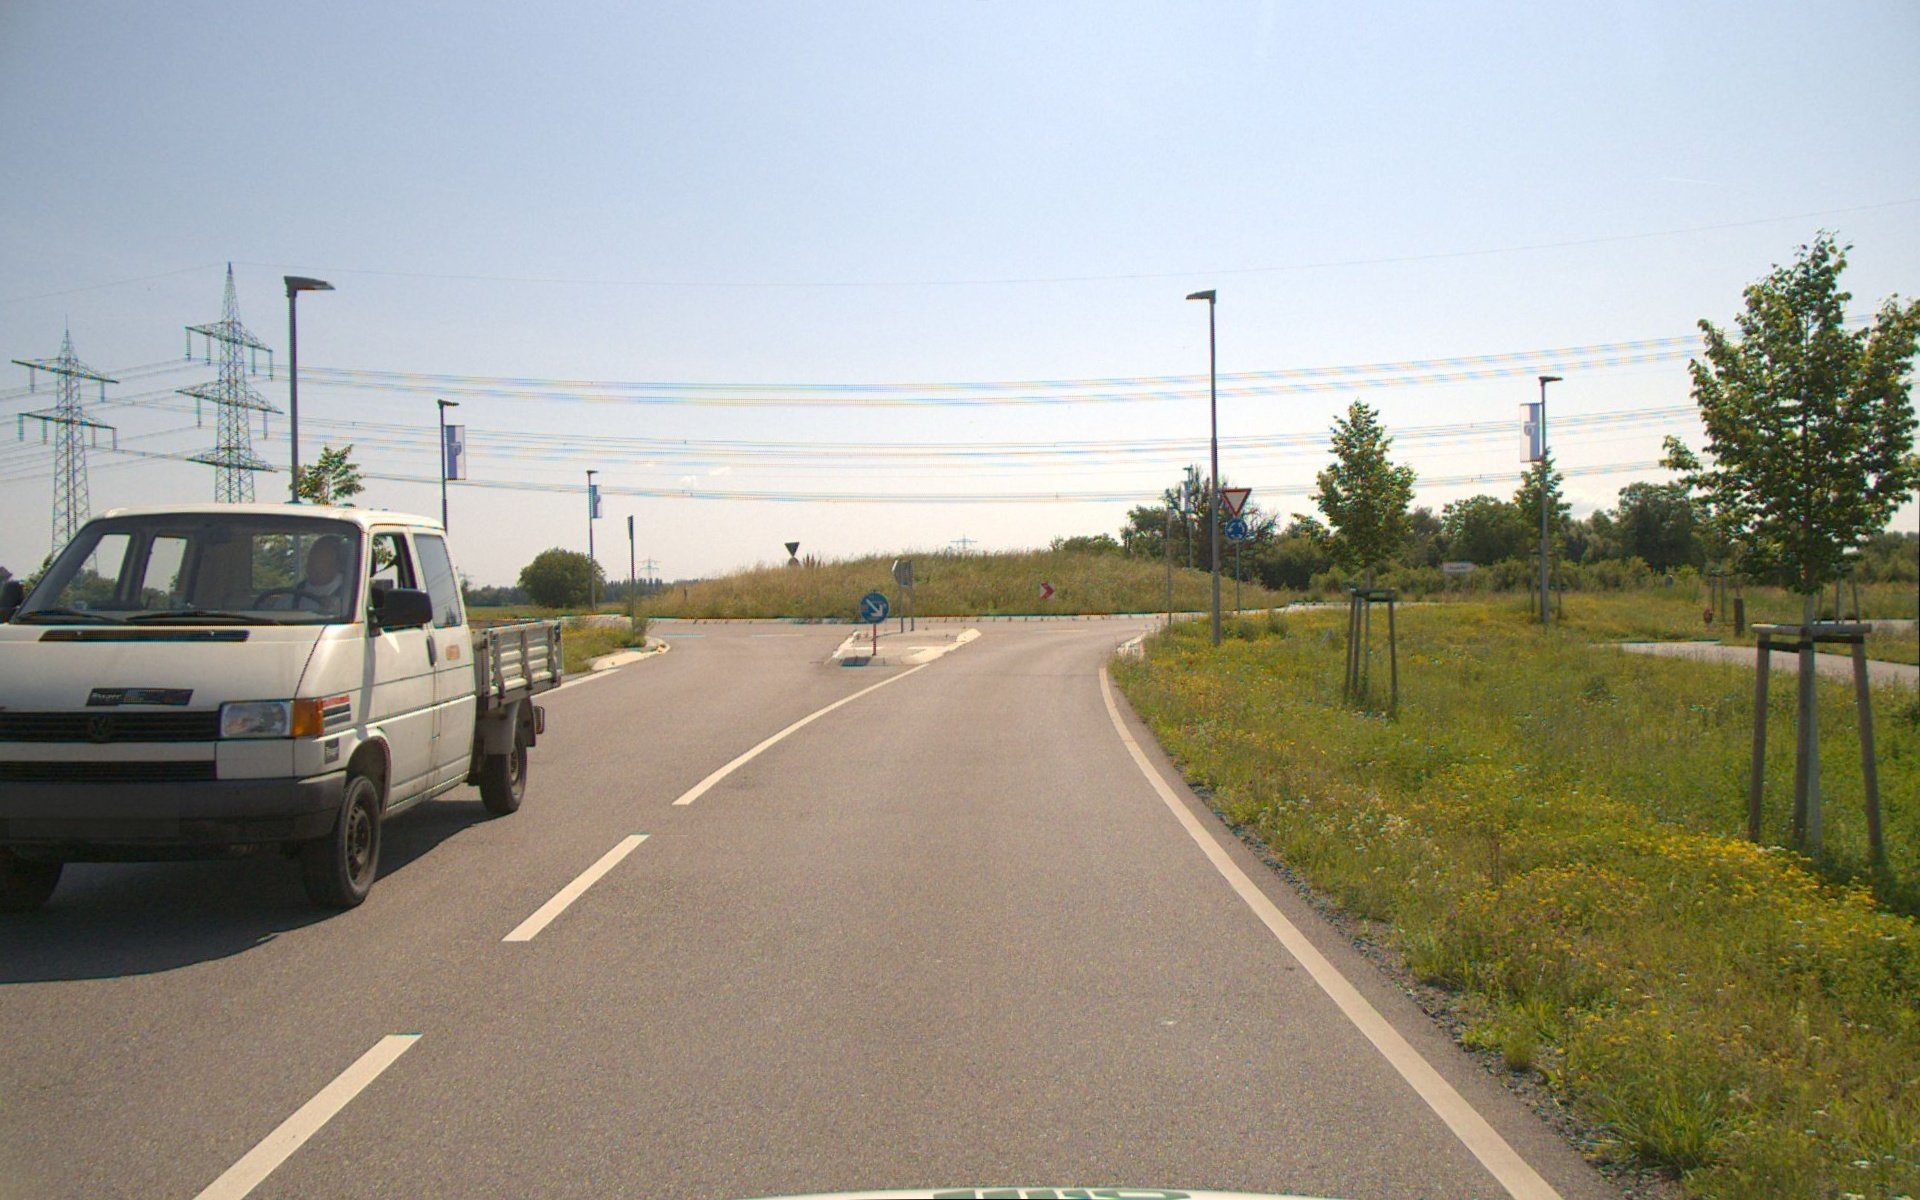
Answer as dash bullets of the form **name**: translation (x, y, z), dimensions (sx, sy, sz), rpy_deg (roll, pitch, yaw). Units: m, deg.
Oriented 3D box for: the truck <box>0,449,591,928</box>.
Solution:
- **truck**: translation (-3.733, 0.338, 9.814), dimensions (1.912, 2.019, 5.643), rpy_deg (0, 1, -1)
